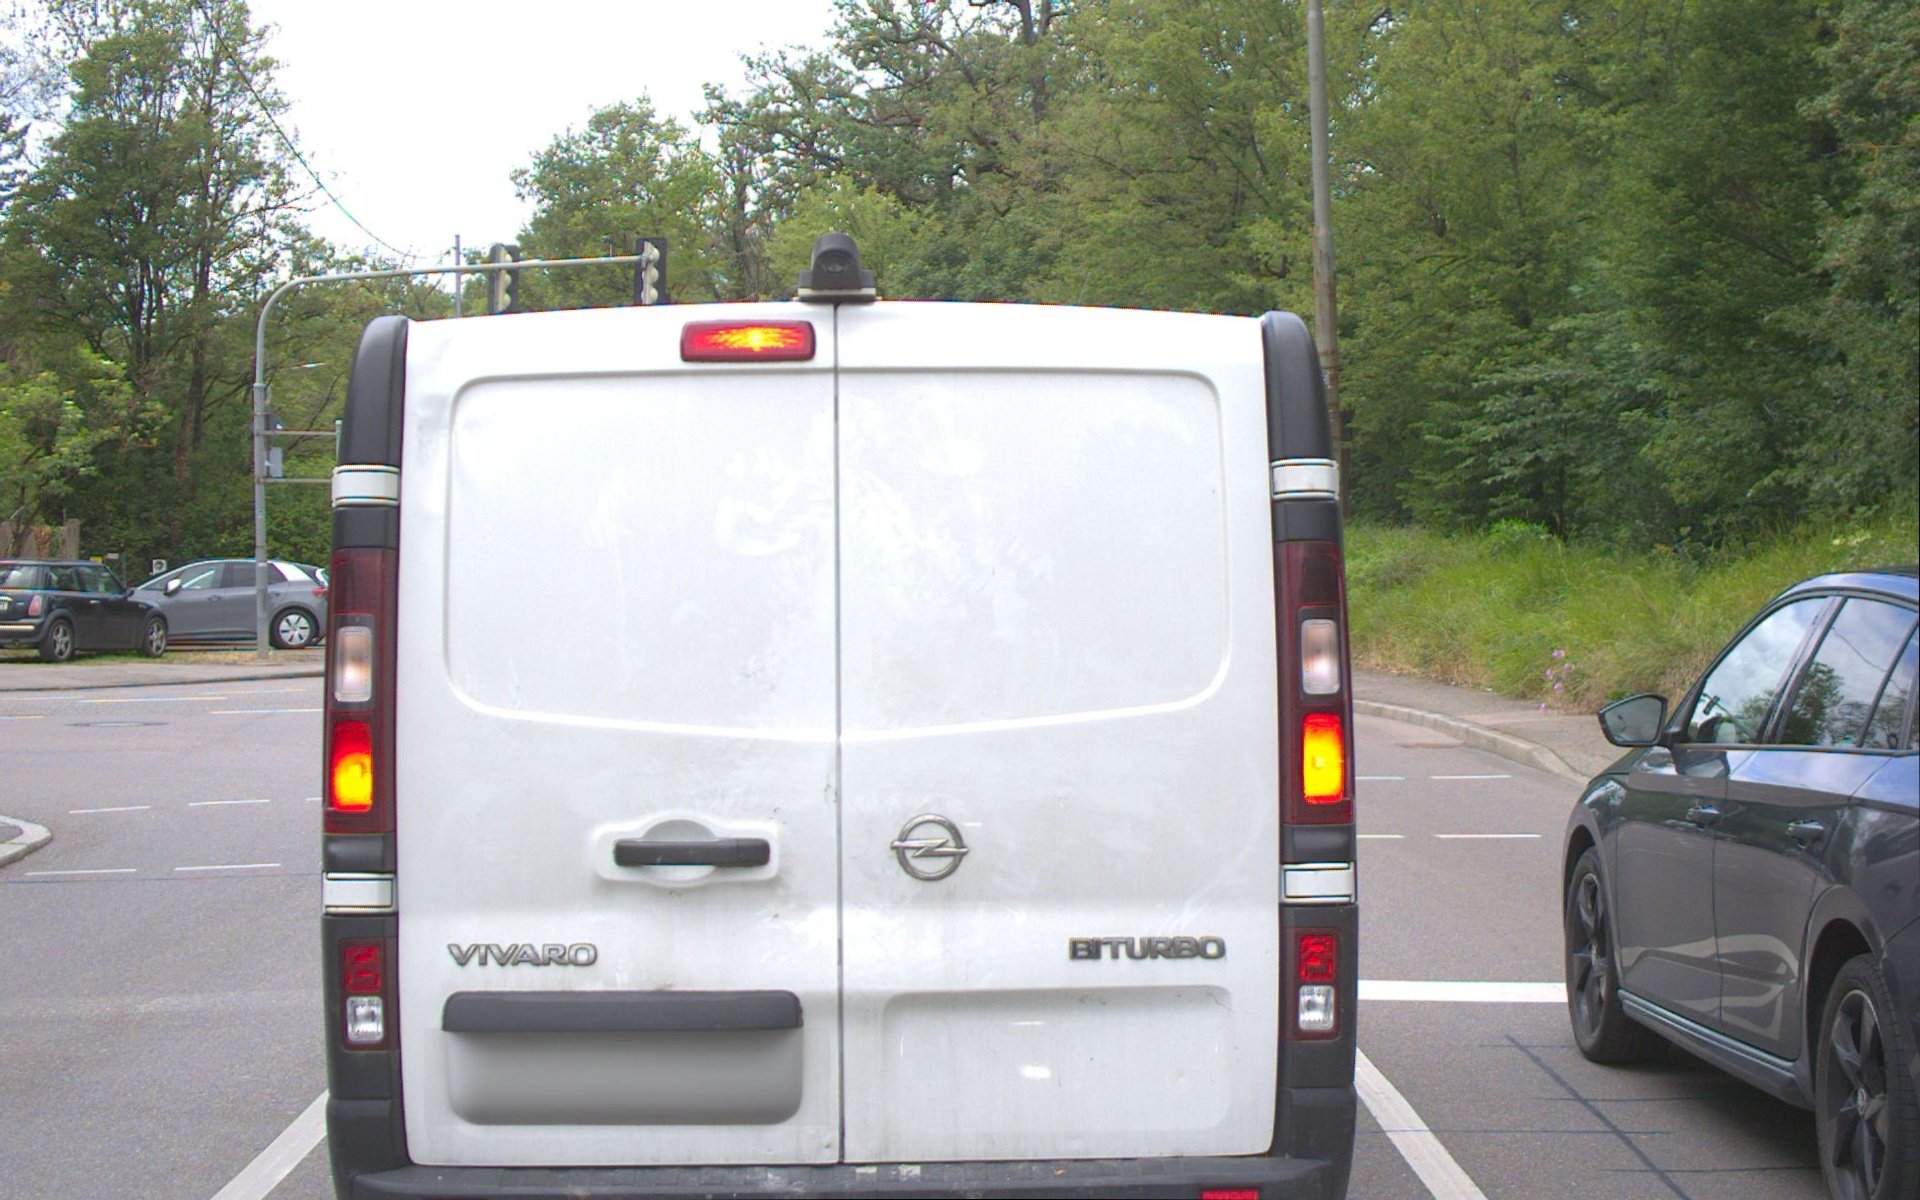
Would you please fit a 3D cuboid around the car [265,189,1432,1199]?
[{"bbox_3d":[-0.294,0.319,8.051,1.916,2.046,4.615,1,1,-3],"label":"car"}]

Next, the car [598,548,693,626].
[{"bbox_3d":[-6.317,-0.280,69.272,1.856,1.501,4.001,0,1,-5],"label":"car"}]

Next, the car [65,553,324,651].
[{"bbox_3d":[-12.827,0.014,57.551,4.085,1.548,1.855,-1,2,-17],"label":"car"}]

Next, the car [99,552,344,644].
[{"bbox_3d":[-13.105,-0.057,60.970,4.085,1.548,1.855,-1,2,-17],"label":"car"}]

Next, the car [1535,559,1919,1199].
[{"bbox_3d":[2.692,0.638,8.387,1.792,1.445,4.000,0,1,-2],"label":"car"}]

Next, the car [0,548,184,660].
[{"bbox_3d":[-12.423,0.026,47.402,1.699,1.444,3.540,2,1,19],"label":"car"}]
